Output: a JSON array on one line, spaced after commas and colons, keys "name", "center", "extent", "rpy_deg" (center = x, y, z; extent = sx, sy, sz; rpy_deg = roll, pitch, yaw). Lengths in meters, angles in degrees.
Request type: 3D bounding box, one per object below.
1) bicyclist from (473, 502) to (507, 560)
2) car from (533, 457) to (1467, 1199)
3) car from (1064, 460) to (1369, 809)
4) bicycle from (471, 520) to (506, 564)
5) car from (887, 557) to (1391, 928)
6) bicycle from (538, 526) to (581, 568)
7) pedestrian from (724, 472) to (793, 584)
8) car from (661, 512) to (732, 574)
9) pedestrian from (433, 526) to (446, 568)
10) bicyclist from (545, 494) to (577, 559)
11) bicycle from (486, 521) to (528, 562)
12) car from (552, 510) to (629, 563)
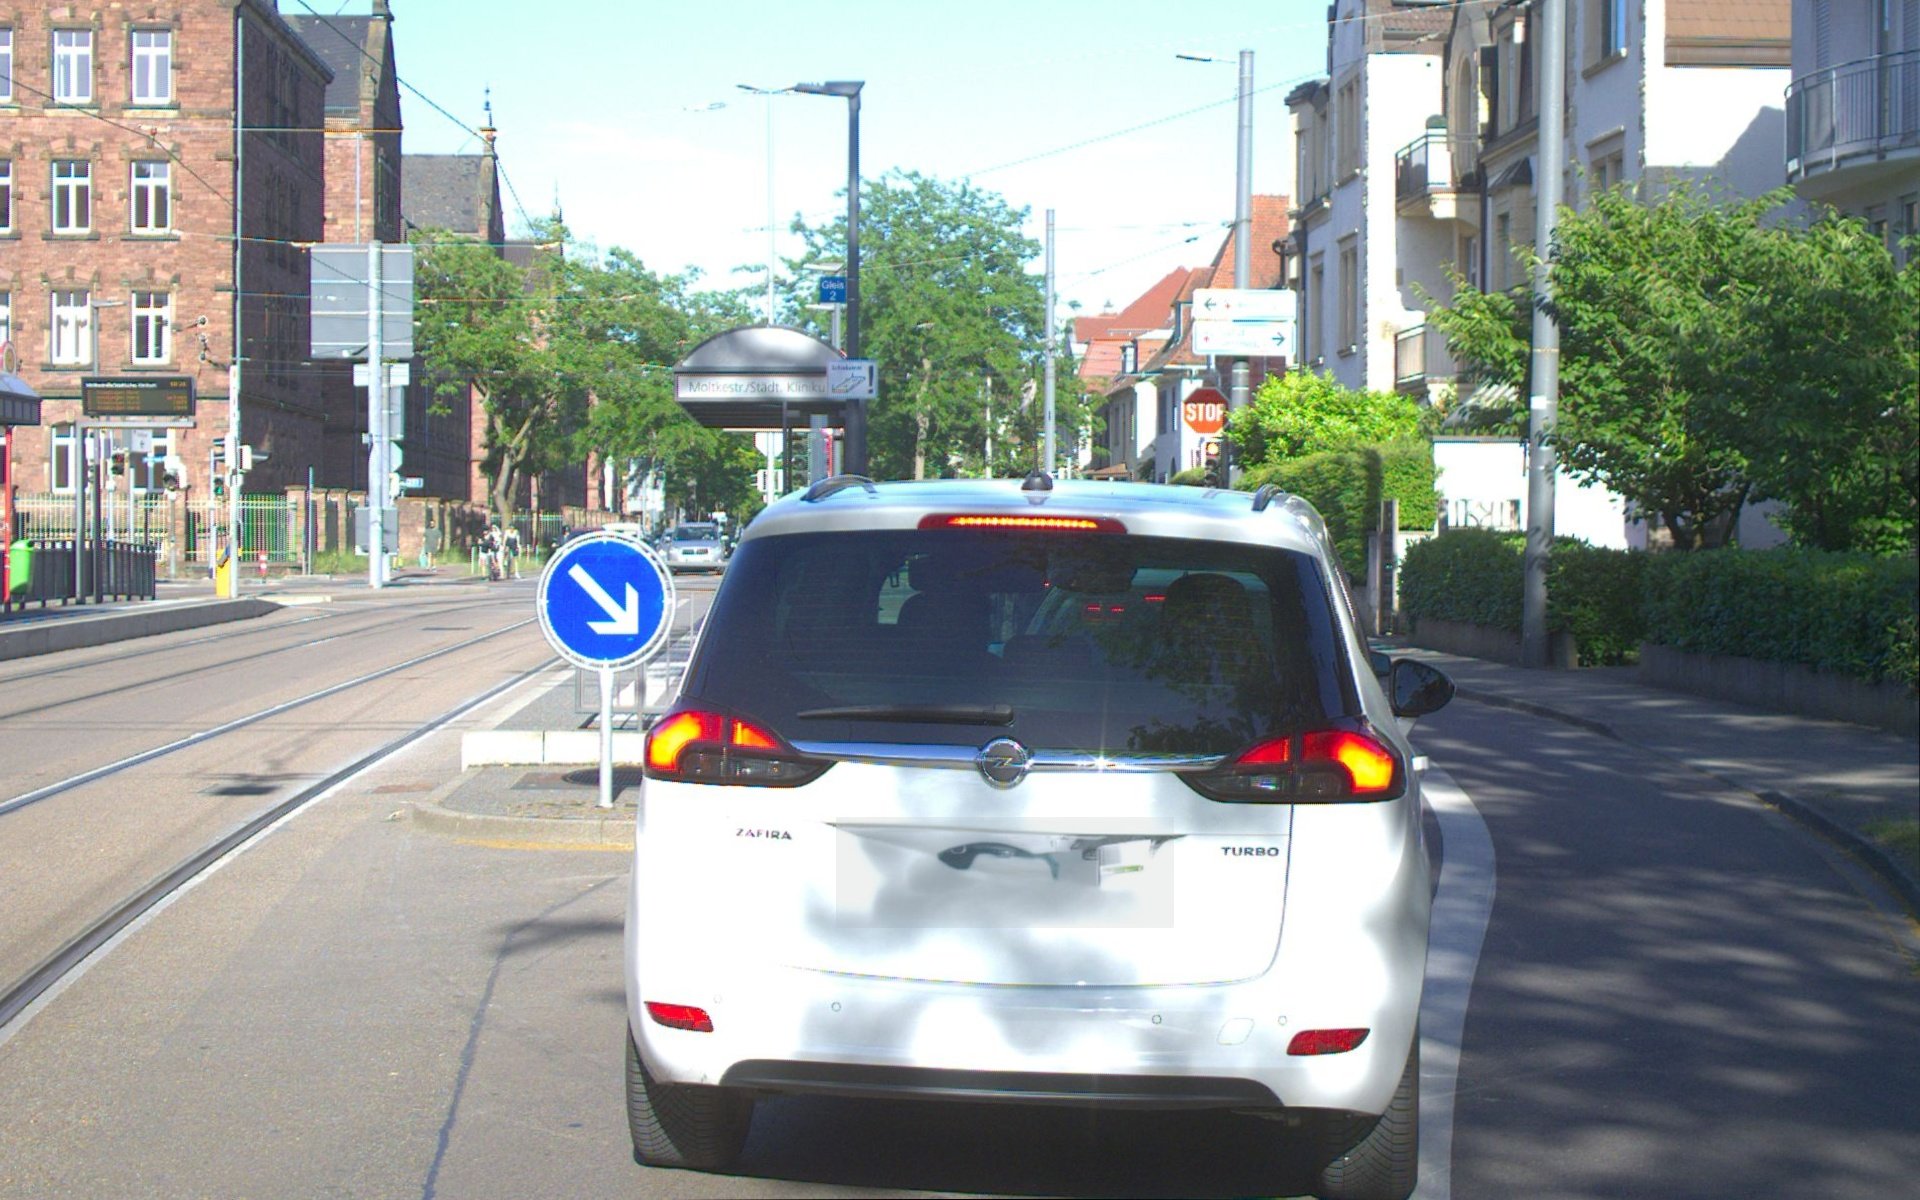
[{"name": "bicyclist", "center": [-14.279, -2.095, 104.421], "extent": [0.943, 1.728, 0.861], "rpy_deg": [0, 1, -2]}, {"name": "car", "center": [0.287, 0.539, 9.072], "extent": [1.893, 1.605, 4.227], "rpy_deg": [0, -1, 6]}, {"name": "car", "center": [1.712, 0.159, 21.857], "extent": [1.709, 2.007, 3.905], "rpy_deg": [0, 1, 8]}, {"name": "bicycle", "center": [-14.280, -1.764, 104.139], "extent": [0.821, 1.292, 2.678], "rpy_deg": [0, 1, -3]}, {"name": "car", "center": [0.955, 0.538, 15.729], "extent": [1.994, 1.437, 3.999], "rpy_deg": [0, 1, 8]}, {"name": "bicycle", "center": [-12.460, -1.655, 107.004], "extent": [1.148, 1.292, 2.861], "rpy_deg": [0, 1, -3]}, {"name": "pedestrian", "center": [-3.703, -1.329, 63.014], "extent": [1.155, 2.006, 1.120], "rpy_deg": [-1, 2, -8]}, {"name": "car", "center": [-8.312, -1.787, 108.717], "extent": [1.993, 1.907, 4.000], "rpy_deg": [0, 1, -1]}, {"name": "pedestrian", "center": [-18.020, -1.836, 119.039], "extent": [0.361, 1.433, 0.549], "rpy_deg": [0, 1, 0]}, {"name": "bicyclist", "center": [-12.426, -2.272, 106.989], "extent": [0.950, 2.007, 0.824], "rpy_deg": [0, 1, -5]}, {"name": "bicycle", "center": [-14.579, -1.884, 110.675], "extent": [1.148, 1.292, 2.861], "rpy_deg": [0, 1, -3]}, {"name": "car", "center": [-12.358, -2.134, 115.237], "extent": [1.994, 1.716, 4.000], "rpy_deg": [0, 1, 3]}]
